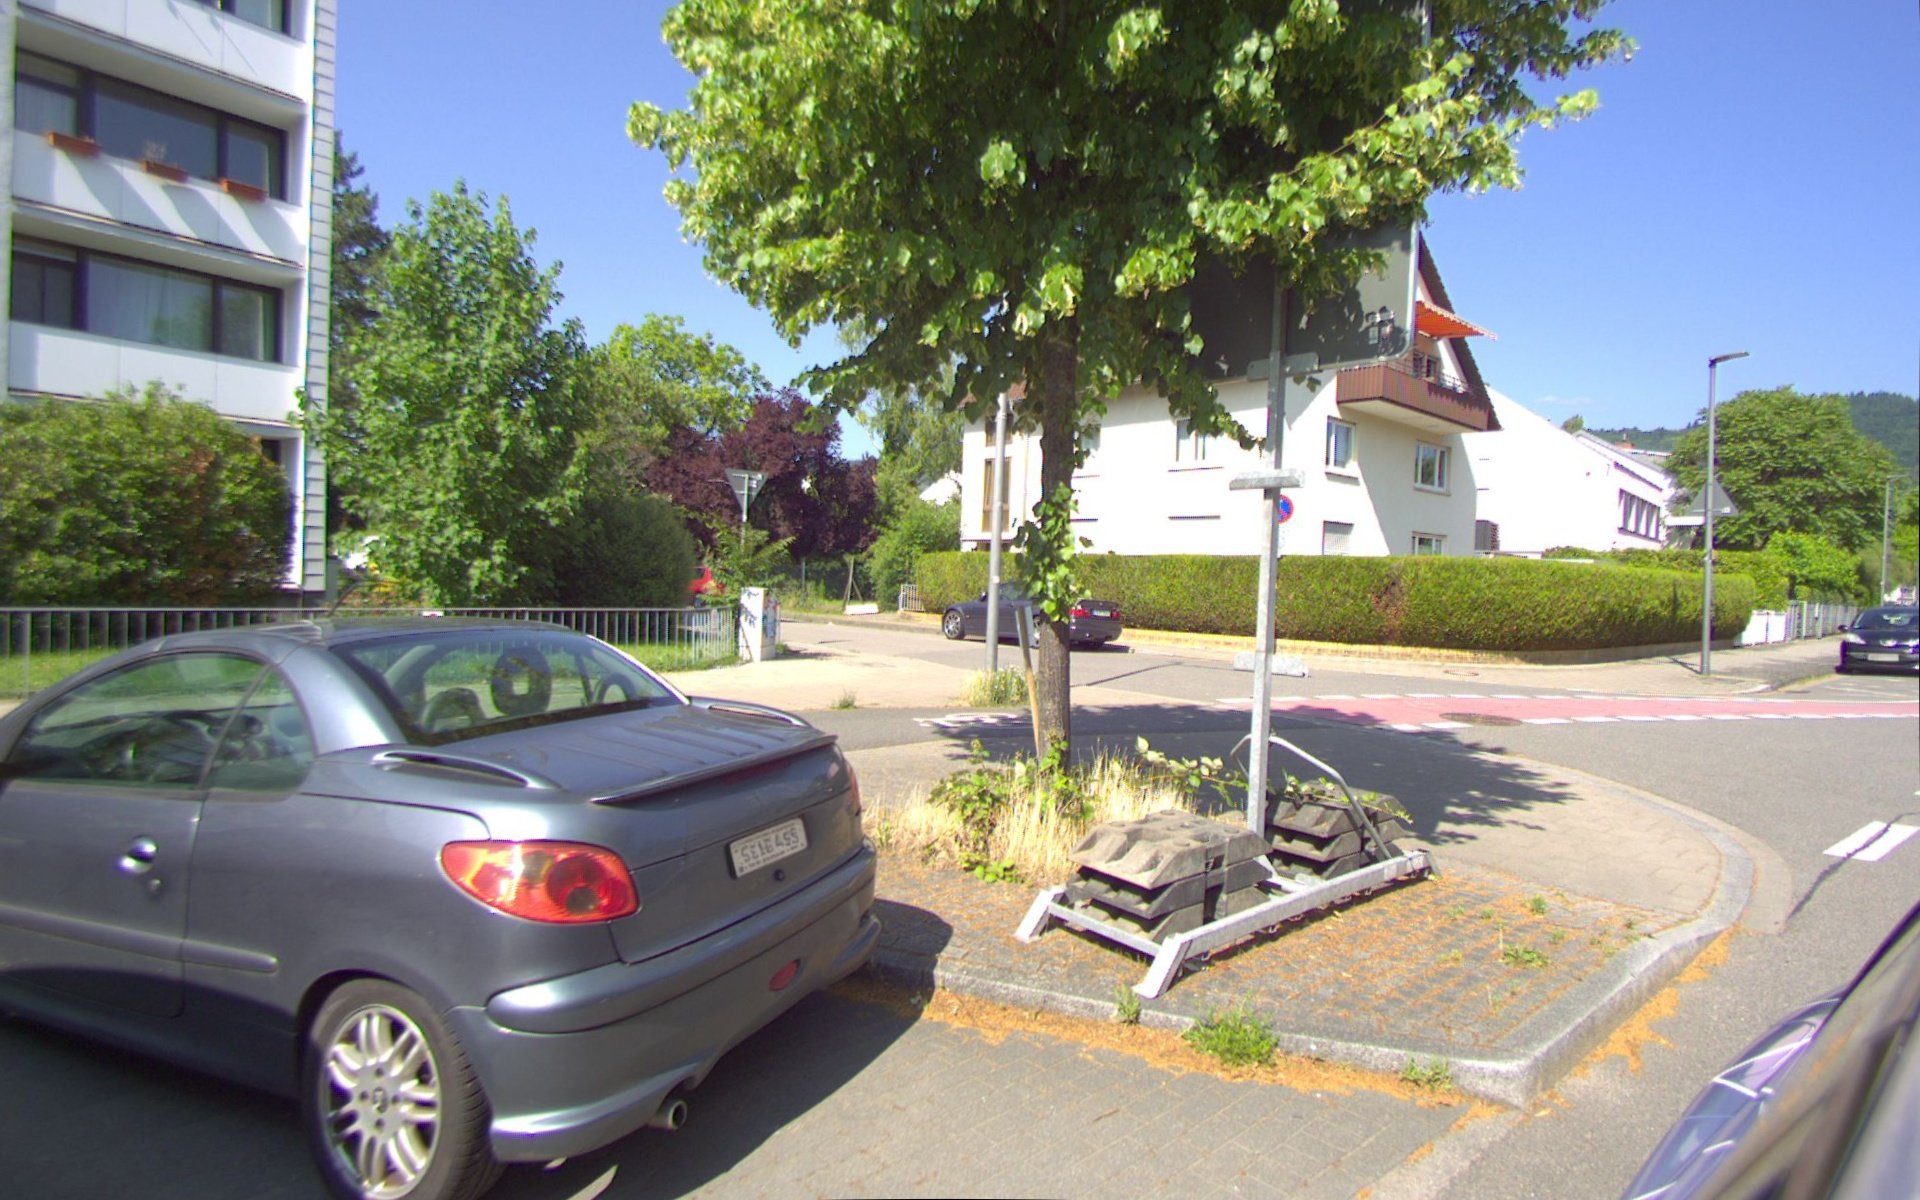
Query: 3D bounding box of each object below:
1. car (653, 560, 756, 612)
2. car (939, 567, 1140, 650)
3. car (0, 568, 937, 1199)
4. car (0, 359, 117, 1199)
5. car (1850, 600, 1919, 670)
[{"bbox_3d":[-8.420,-0.479,33.163,1.620,1.473,3.995,2,2,-41],"label":"car"},{"bbox_3d":[1.577,0.139,21.382,1.778,1.415,4.125,4,0,-40],"label":"car"},{"bbox_3d":[-2.242,0.570,3.566,3.957,1.252,1.739,3,2,24],"label":"car"},{"bbox_3d":[-3.628,0.406,1.280,4.063,1.660,2.034,2,1,16],"label":"car"},{"bbox_3d":[20.809,0.717,22.105,3.931,1.408,1.619,0,-1,-42],"label":"car"}]
